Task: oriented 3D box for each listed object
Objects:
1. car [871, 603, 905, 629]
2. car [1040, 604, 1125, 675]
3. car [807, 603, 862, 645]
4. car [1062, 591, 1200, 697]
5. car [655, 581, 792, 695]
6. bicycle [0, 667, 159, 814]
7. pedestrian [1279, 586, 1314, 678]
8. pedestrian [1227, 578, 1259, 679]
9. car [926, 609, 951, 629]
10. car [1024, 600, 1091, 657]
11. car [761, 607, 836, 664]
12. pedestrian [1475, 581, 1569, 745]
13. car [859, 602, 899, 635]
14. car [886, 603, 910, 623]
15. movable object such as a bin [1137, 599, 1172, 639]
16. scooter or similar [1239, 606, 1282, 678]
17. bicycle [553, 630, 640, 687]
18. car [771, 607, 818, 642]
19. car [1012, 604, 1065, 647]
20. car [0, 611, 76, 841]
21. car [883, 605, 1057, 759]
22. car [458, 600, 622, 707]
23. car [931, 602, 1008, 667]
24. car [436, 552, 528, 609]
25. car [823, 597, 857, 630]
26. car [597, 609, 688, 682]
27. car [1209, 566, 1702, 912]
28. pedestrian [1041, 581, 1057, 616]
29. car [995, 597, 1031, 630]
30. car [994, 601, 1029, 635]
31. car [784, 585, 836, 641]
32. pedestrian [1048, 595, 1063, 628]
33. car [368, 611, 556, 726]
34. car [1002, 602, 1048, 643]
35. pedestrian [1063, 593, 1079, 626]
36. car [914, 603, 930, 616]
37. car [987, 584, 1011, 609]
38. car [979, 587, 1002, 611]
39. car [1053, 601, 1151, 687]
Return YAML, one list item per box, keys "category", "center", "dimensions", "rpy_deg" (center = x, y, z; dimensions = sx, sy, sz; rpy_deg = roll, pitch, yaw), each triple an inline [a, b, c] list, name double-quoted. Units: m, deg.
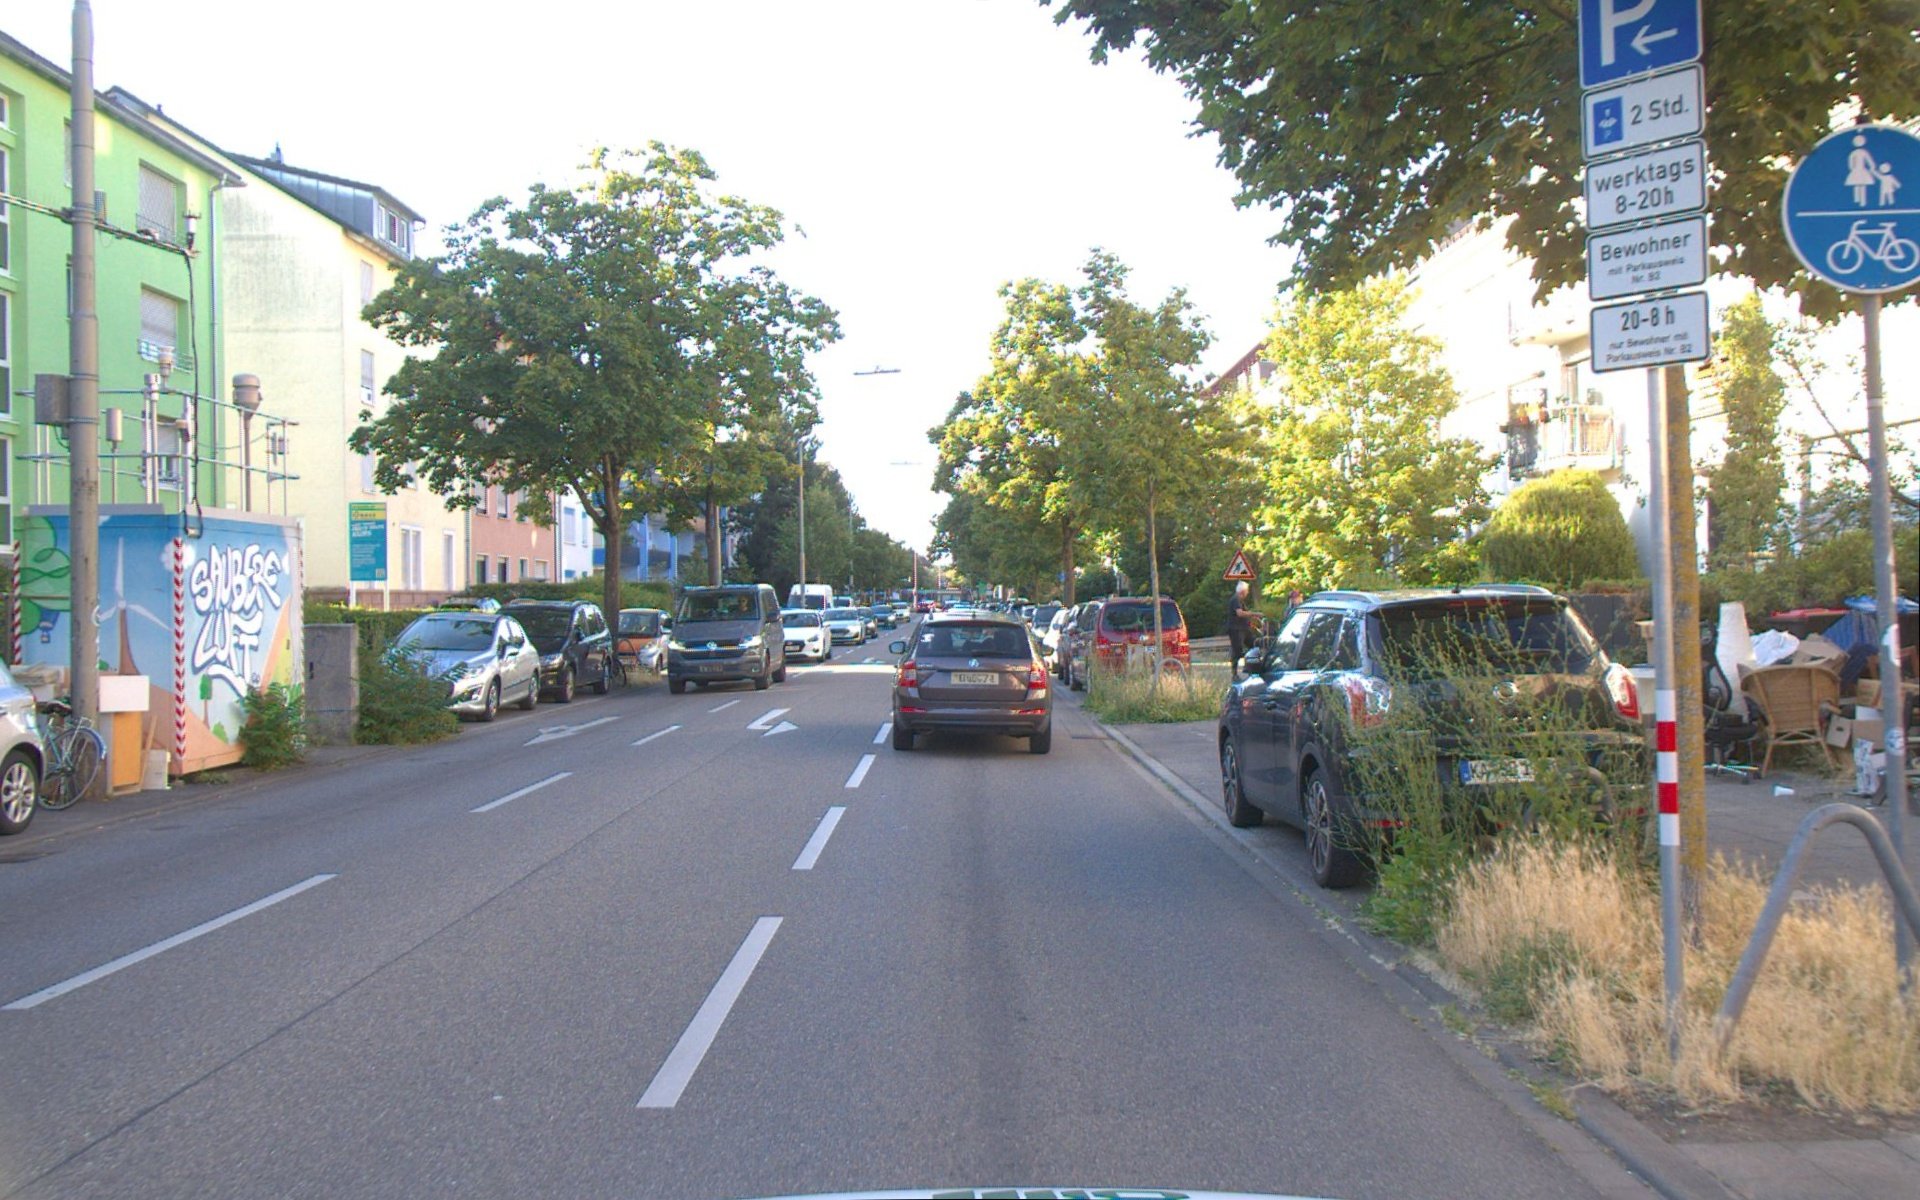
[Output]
- category: "car"
  center: [-4.350, 0.971, 100.493]
  dimensions: [1.664, 1.496, 4.295]
  rpy_deg: [-2, 0, 2]
- category: "car"
  center: [2.838, 0.886, 39.074]
  dimensions: [1.603, 1.516, 4.415]
  rpy_deg: [-2, 0, -1]
- category: "car"
  center: [-4.890, 0.912, 65.023]
  dimensions: [1.795, 1.496, 4.451]
  rpy_deg: [-3, 0, -1]
- category: "car"
  center: [2.878, 0.707, 28.753]
  dimensions: [1.687, 1.684, 4.595]
  rpy_deg: [0, 0, -3]
- category: "car"
  center: [-4.540, 0.696, 32.491]
  dimensions: [1.953, 1.980, 4.777]
  rpy_deg: [-3, 0, 0]
- category: "bicycle"
  center: [-7.606, 1.111, 13.355]
  dimensions: [1.964, 1.108, 0.583]
  rpy_deg: [1, 0, 0]
- category: "pedestrian"
  center: [6.414, 0.604, 31.542]
  dimensions: [0.500, 1.726, 0.526]
  rpy_deg: [0, 0, -5]
- category: "pedestrian"
  center: [5.360, 0.536, 31.310]
  dimensions: [0.537, 1.882, 0.765]
  rpy_deg: [0, 0, 6]
- category: "car"
  center: [-1.704, 1.491, 129.386]
  dimensions: [1.745, 1.506, 3.968]
  rpy_deg: [1, 0, -3]
- category: "car"
  center: [2.961, 0.849, 51.177]
  dimensions: [1.836, 1.609, 4.821]
  rpy_deg: [-2, 0, 1]
- category: "car"
  center: [-4.549, 0.977, 47.100]
  dimensions: [1.779, 1.472, 4.109]
  rpy_deg: [-3, 0, -1]
- category: "pedestrian"
  center: [5.633, 0.616, 16.592]
  dimensions: [0.547, 1.595, 0.744]
  rpy_deg: [0, -1, -18]
- category: "car"
  center: [-3.732, 0.836, 76.994]
  dimensions: [1.665, 1.428, 4.027]
  rpy_deg: [-2, 0, -1]
- category: "car"
  center: [-5.011, 1.074, 134.031]
  dimensions: [1.842, 1.570, 4.264]
  rpy_deg: [-1, 0, -3]
- category: "movable object such as a bin"
  center: [7.646, 0.743, 64.933]
  dimensions: [1.240, 1.518, 1.140]
  rpy_deg: [-3, -1, 9]
- category: "scooter or similar"
  center: [5.676, 0.794, 31.277]
  dimensions: [0.730, 1.340, 0.721]
  rpy_deg: [0, 0, 6]
- category: "bicycle"
  center: [-7.416, 1.184, 33.765]
  dimensions: [1.640, 1.108, 0.560]
  rpy_deg: [1, 0, 1]
- category: "car"
  center: [-7.526, 1.093, 75.563]
  dimensions: [1.672, 1.518, 4.058]
  rpy_deg: [2, 0, 0]
- category: "car"
  center: [2.895, 0.915, 61.735]
  dimensions: [1.683, 1.520, 4.393]
  rpy_deg: [-1, 0, -1]
- category: "car"
  center: [-7.387, 0.872, 10.475]
  dimensions: [1.604, 1.579, 3.785]
  rpy_deg: [-1, 0, -1]
- category: "car"
  center: [0.152, 0.830, 18.618]
  dimensions: [1.718, 1.518, 4.001]
  rpy_deg: [1, 0, 1]
- category: "car"
  center: [-7.472, 0.906, 29.884]
  dimensions: [1.747, 1.763, 4.617]
  rpy_deg: [-1, 0, 0]
- category: "car"
  center: [0.214, 0.906, 43.613]
  dimensions: [1.853, 1.533, 3.789]
  rpy_deg: [3, -1, -1]
- category: "car"
  center: [-15.078, -0.578, 52.397]
  dimensions: [1.790, 1.712, 3.999]
  rpy_deg: [0, -1, -1]
- category: "car"
  center: [-7.570, 0.854, 105.019]
  dimensions: [1.831, 2.067, 5.300]
  rpy_deg: [0, 0, -1]
- category: "car"
  center: [-7.459, 1.046, 39.049]
  dimensions: [1.468, 1.645, 2.862]
  rpy_deg: [0, 0, 3]
- category: "car"
  center: [2.799, 0.704, 10.342]
  dimensions: [1.756, 1.660, 4.028]
  rpy_deg: [-2, 0, -1]
- category: "pedestrian"
  center: [4.413, -0.050, 81.795]
  dimensions: [0.771, 1.730, 0.808]
  rpy_deg: [0, -1, 4]
- category: "car"
  center: [3.046, 0.778, 95.363]
  dimensions: [1.764, 1.840, 4.422]
  rpy_deg: [1, 0, -2]
- category: "car"
  center: [2.654, 0.907, 86.176]
  dimensions: [1.718, 1.692, 4.253]
  rpy_deg: [-2, 0, 1]
- category: "car"
  center: [-7.371, 0.613, 81.869]
  dimensions: [1.953, 2.662, 7.104]
  rpy_deg: [1, 0, -1]
- category: "pedestrian"
  center: [5.541, 0.668, 96.293]
  dimensions: [0.733, 1.893, 1.068]
  rpy_deg: [-1, 0, -1]
- category: "car"
  center: [-7.356, 0.956, 24.830]
  dimensions: [1.648, 1.548, 4.189]
  rpy_deg: [0, 0, -2]
- category: "car"
  center: [2.661, 0.930, 68.713]
  dimensions: [1.683, 1.629, 4.095]
  rpy_deg: [-1, 0, -1]
- category: "pedestrian"
  center: [6.473, 0.553, 96.045]
  dimensions: [0.781, 1.893, 0.951]
  rpy_deg: [-1, 0, 11]
- category: "car"
  center: [-5.137, 1.287, 224.086]
  dimensions: [1.955, 1.780, 3.995]
  rpy_deg: [-1, 0, -5]
- category: "car"
  center: [2.796, -0.251, 118.290]
  dimensions: [1.718, 1.716, 4.253]
  rpy_deg: [1, 0, 1]
- category: "car"
  center: [2.509, -0.107, 134.650]
  dimensions: [1.877, 1.893, 5.634]
  rpy_deg: [0, 0, 1]
- category: "car"
  center: [2.824, 0.839, 33.562]
  dimensions: [1.603, 1.596, 4.000]
  rpy_deg: [-2, 0, 0]
